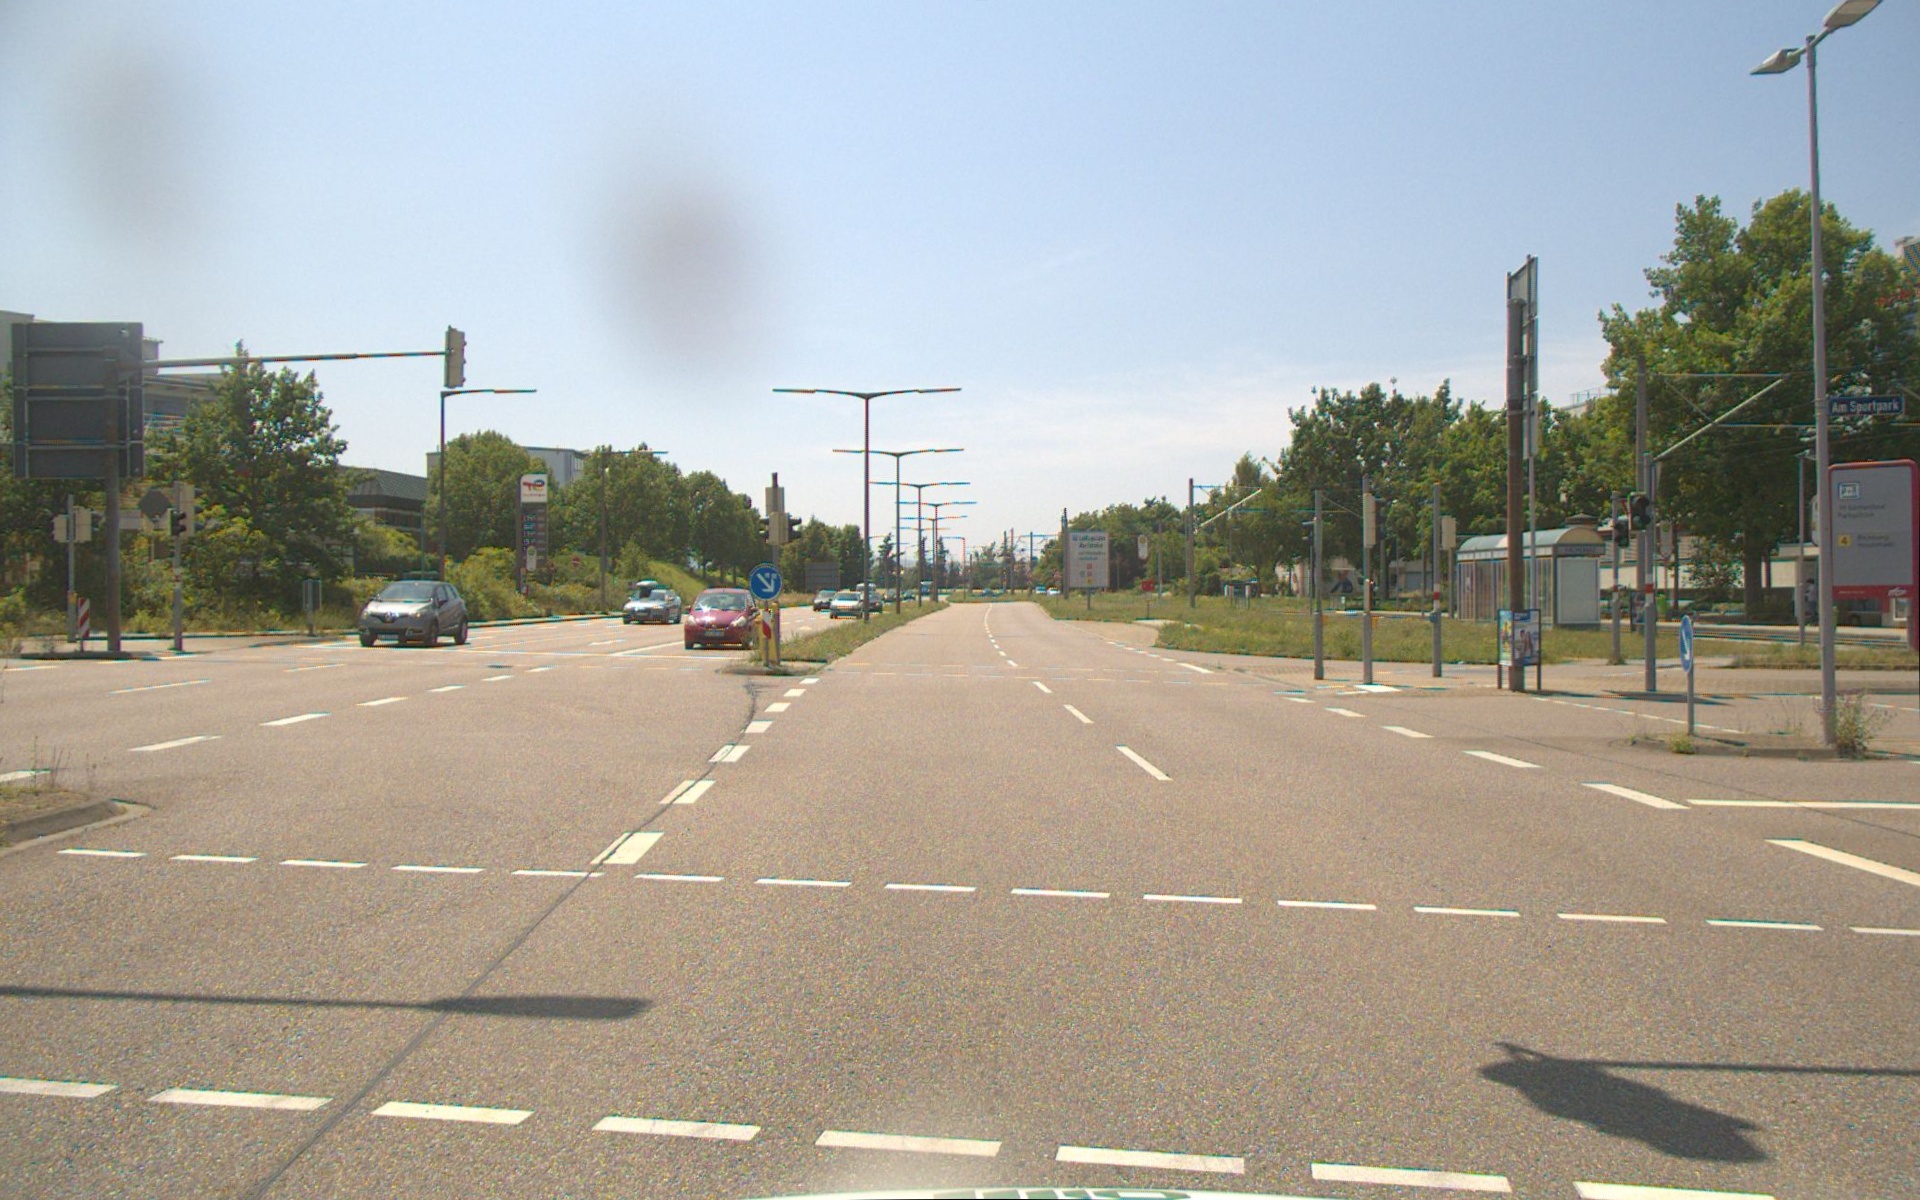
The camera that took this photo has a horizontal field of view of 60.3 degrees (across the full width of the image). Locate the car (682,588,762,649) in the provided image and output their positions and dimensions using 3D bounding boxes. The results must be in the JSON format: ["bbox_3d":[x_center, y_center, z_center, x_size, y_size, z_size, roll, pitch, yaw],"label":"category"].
[{"bbox_3d":[-6.156,0.441,43.148,1.625,1.516,3.999,0,0,-2],"label":"car"}]

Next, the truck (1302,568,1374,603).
[{"bbox_3d":[33.856,-1.322,148.200,5.730,2.893,2.316,-2,0,-8],"label":"truck"}]

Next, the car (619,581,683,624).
[{"bbox_3d":[-13.158,0.071,70.773,1.925,1.780,5.020,0,0,-2],"label":"car"}]

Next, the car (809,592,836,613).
[{"bbox_3d":[-9.755,0.142,117.239,1.604,1.454,4.051,0,0,0],"label":"car"}]

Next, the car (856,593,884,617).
[{"bbox_3d":[-5.742,0.317,106.086,1.642,1.459,4.190,0,0,-1],"label":"car"}]

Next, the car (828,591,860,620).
[{"bbox_3d":[-6.158,0.253,87.947,1.529,1.448,3.853,0,1,-2],"label":"car"}]

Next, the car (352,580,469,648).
[{"bbox_3d":[-13.563,0.310,41.023,1.625,1.566,3.999,1,0,-2],"label":"car"}]
